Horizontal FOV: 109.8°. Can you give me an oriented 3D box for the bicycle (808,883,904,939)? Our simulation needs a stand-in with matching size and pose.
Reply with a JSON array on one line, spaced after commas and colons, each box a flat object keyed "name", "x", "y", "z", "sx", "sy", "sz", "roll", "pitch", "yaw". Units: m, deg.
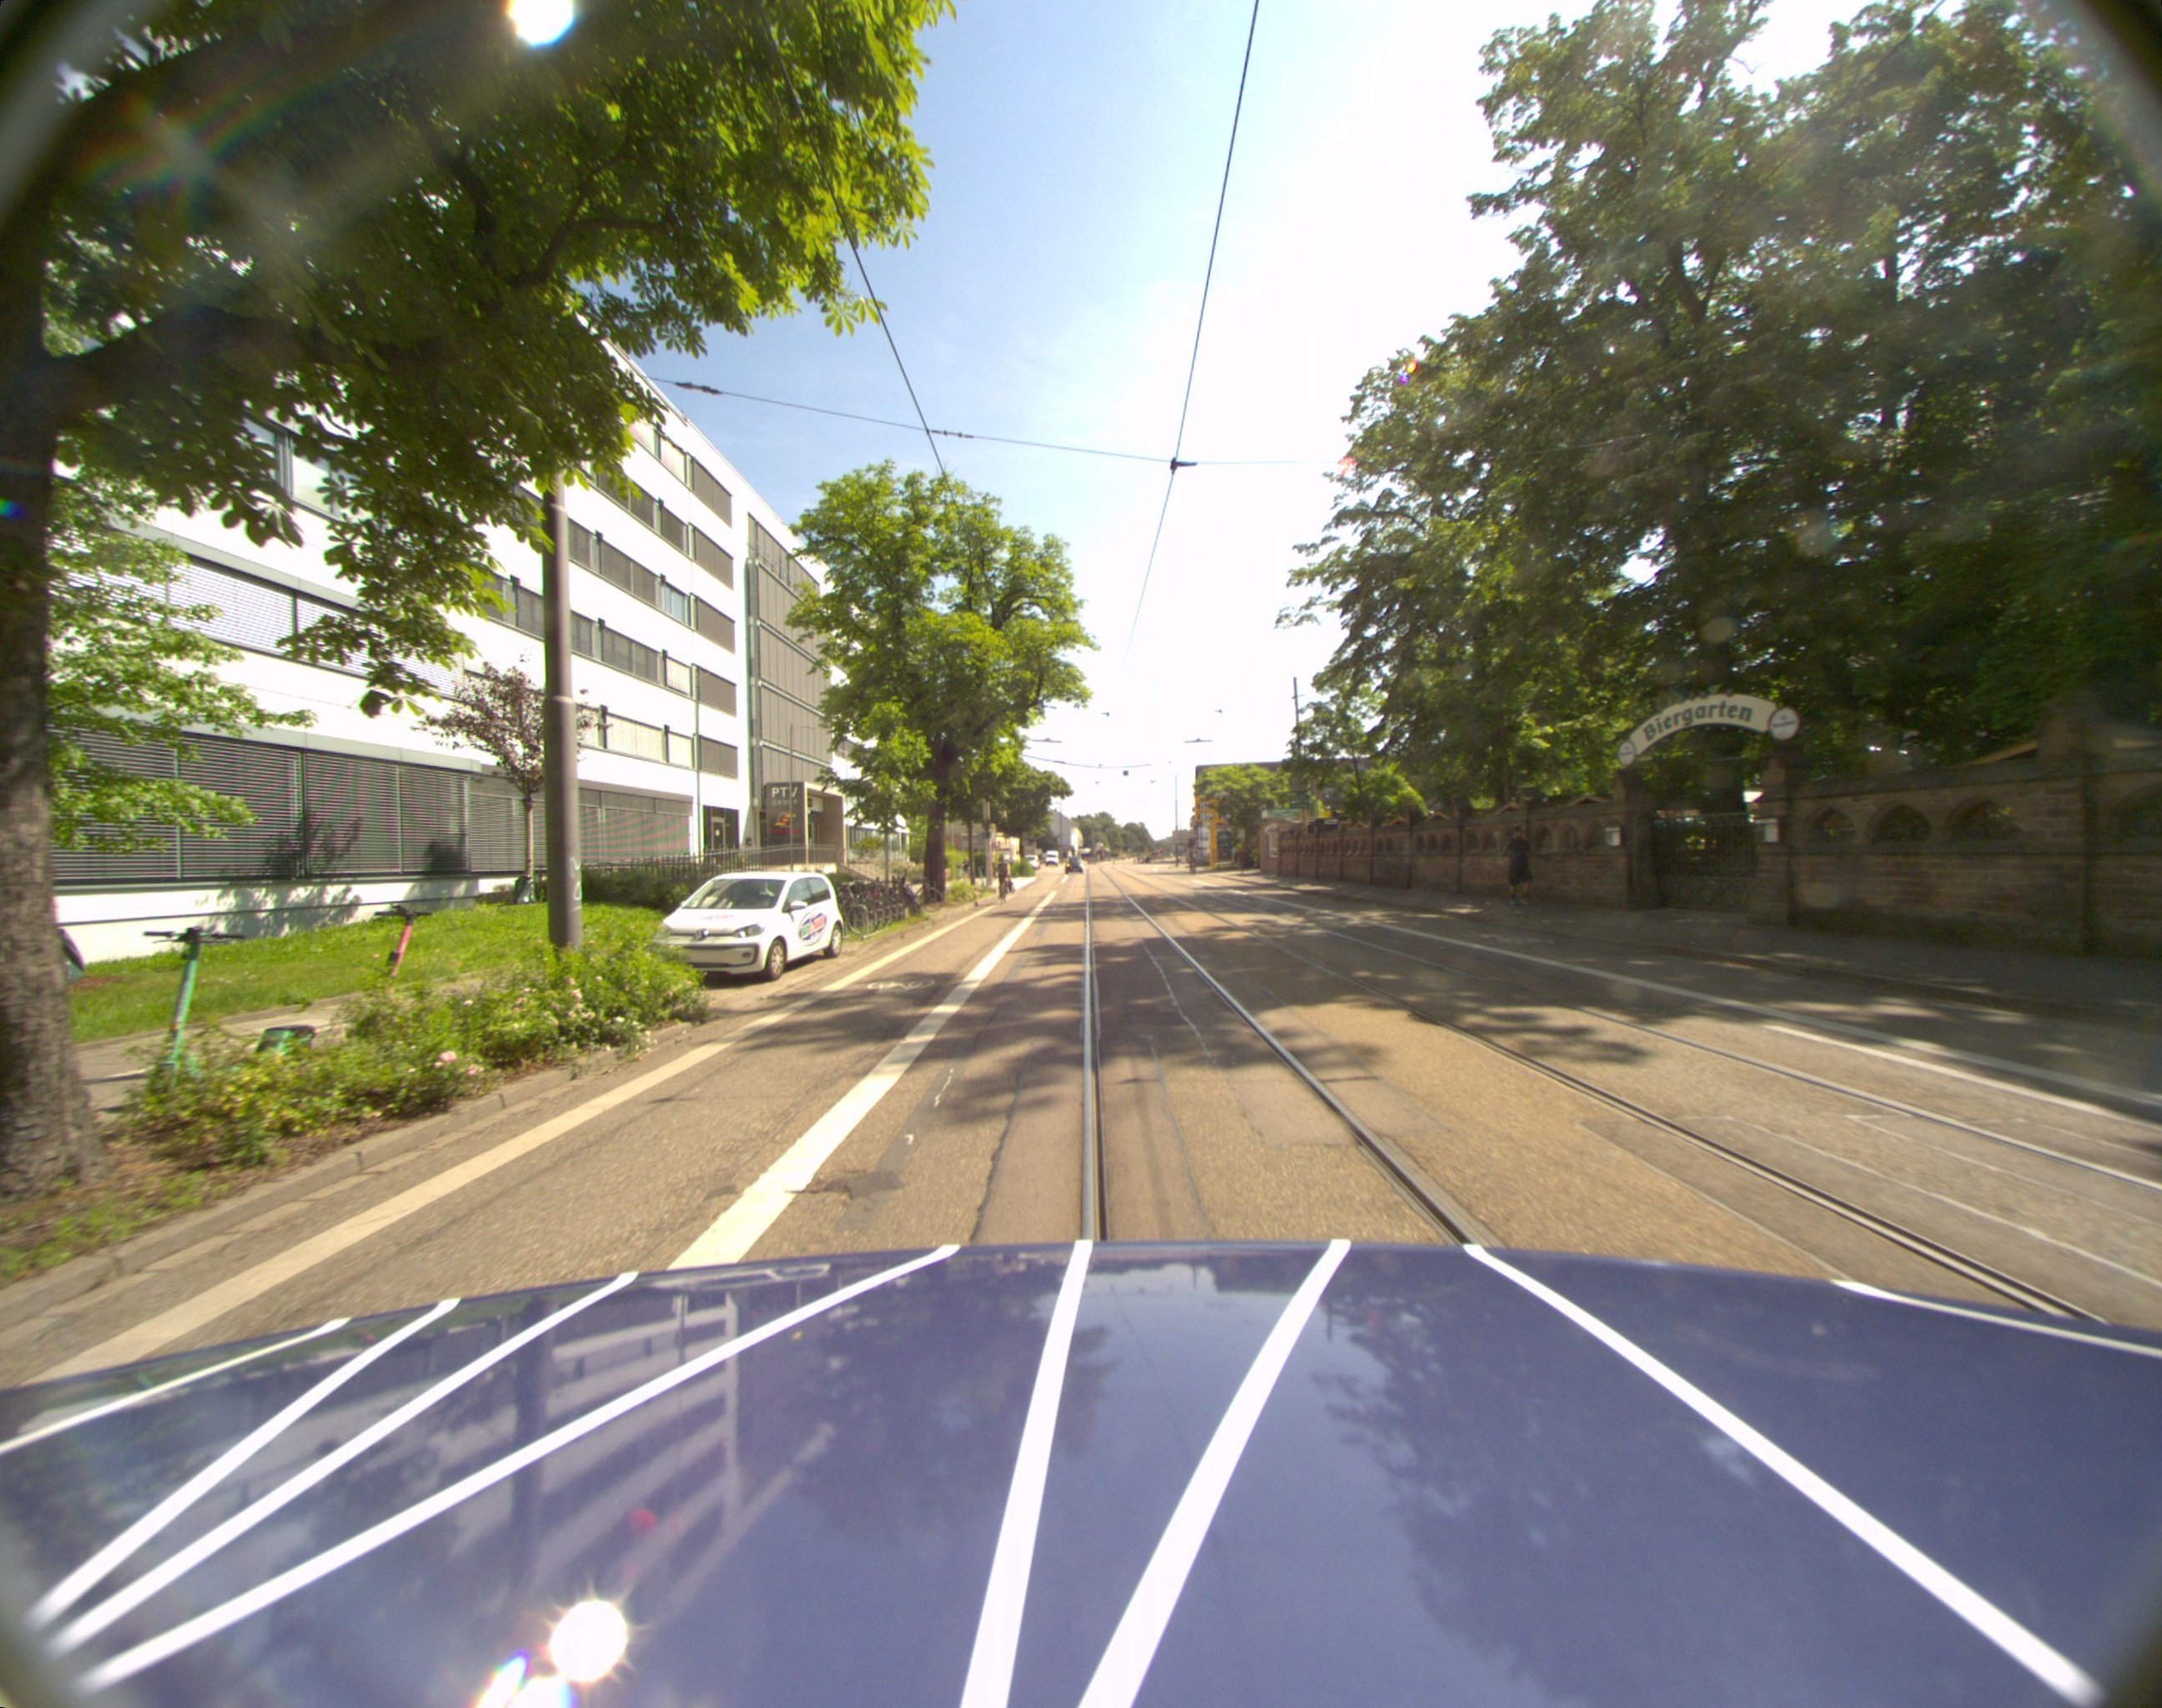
[{"name": "bicycle", "x": -4.875, "y": 1.232, "z": 16.557, "sx": 1.853, "sy": 1.125, "sz": 0.680, "roll": -1, "pitch": 0, "yaw": 0}]

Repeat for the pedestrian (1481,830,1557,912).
[{"name": "pedestrian", "x": 10.402, "y": 0.384, "z": 18.091, "sx": 0.979, "sy": 1.805, "sz": 1.185, "roll": -5, "pitch": 0, "yaw": 1}]

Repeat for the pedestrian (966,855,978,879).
[{"name": "pedestrian", "x": -7.154, "y": 0.840, "z": 49.993, "sx": 0.688, "sy": 1.554, "sz": 0.988, "roll": 0, "pitch": 0, "yaw": -4}]

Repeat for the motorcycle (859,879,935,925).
[{"name": "motorcycle", "x": -4.674, "y": 1.219, "z": 19.373, "sx": 1.728, "sy": 1.080, "sz": 0.658, "roll": -1, "pitch": 0, "yaw": 0}]

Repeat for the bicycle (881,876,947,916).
[{"name": "bicycle", "x": -4.826, "y": 1.200, "z": 22.052, "sx": 1.728, "sy": 1.080, "sz": 0.789, "roll": -1, "pitch": 0, "yaw": 0}]

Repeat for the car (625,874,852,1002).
[{"name": "car", "x": -4.878, "y": 1.116, "z": 11.423, "sx": 1.634, "sy": 1.463, "sz": 3.630, "roll": -2, "pitch": 0, "yaw": 2}]

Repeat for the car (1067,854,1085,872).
[{"name": "car", "x": -0.459, "y": 0.773, "z": 67.910, "sx": 1.478, "sy": 1.529, "sz": 2.975, "roll": -1, "pitch": 0, "yaw": -3}]

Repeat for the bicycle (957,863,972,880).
[{"name": "bicycle", "x": -7.665, "y": 1.138, "z": 49.966, "sx": 0.637, "sy": 1.111, "sz": 2.067, "roll": -2, "pitch": 0, "yaw": 0}]

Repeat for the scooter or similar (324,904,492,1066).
[{"name": "scooter or similar", "x": -6.192, "y": 1.158, "z": 7.061, "sx": 0.474, "sy": 1.294, "sz": 1.157, "roll": -2, "pitch": 1, "yaw": 1}]

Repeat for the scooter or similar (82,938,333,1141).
[{"name": "scooter or similar", "x": -6.153, "y": 1.252, "z": 5.438, "sx": 0.402, "sy": 1.166, "sz": 1.158, "roll": -2, "pitch": 0, "yaw": 1}]

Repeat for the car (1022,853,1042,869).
[{"name": "car", "x": -6.528, "y": 0.923, "z": 101.507, "sx": 2.089, "sy": 2.002, "sz": 4.909, "roll": -1, "pitch": 0, "yaw": 2}]

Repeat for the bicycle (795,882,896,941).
[{"name": "bicycle", "x": -4.902, "y": 1.183, "z": 15.879, "sx": 1.877, "sy": 1.135, "sz": 0.686, "roll": -1, "pitch": 0, "yaw": 0}]

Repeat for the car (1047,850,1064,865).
[{"name": "car", "x": -4.382, "y": 0.558, "z": 131.543, "sx": 2.335, "sy": 2.521, "sz": 6.507, "roll": 1, "pitch": 0, "yaw": 2}]

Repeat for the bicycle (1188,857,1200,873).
[{"name": "bicycle", "x": 8.037, "y": 0.796, "z": 54.029, "sx": 0.593, "sy": 1.099, "sz": 2.054, "roll": -2, "pitch": 0, "yaw": 1}]

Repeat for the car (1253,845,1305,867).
[{"name": "car", "x": 16.303, "y": 0.127, "z": 62.497, "sx": 2.015, "sy": 1.631, "sz": 4.669, "roll": -2, "pitch": 0, "yaw": 44}]

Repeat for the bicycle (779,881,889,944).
[{"name": "bicycle", "x": -4.915, "y": 1.163, "z": 15.232, "sx": 1.909, "sy": 1.162, "sz": 0.819, "roll": -1, "pitch": 0, "yaw": 0}]

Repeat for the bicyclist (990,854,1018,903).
[{"name": "bicyclist", "x": -2.762, "y": 0.852, "z": 27.373, "sx": 0.717, "sy": 1.714, "sz": 0.988, "roll": -2, "pitch": 0, "yaw": 10}]

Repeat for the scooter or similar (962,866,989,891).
[{"name": "scooter or similar", "x": -4.907, "y": 1.135, "z": 35.464, "sx": 1.128, "sy": 1.159, "sz": 0.676, "roll": -1, "pitch": 0, "yaw": 3}]

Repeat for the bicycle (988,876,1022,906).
[{"name": "bicycle", "x": -2.729, "y": 1.320, "z": 27.428, "sx": 0.609, "sy": 0.978, "sz": 2.166, "roll": -2, "pitch": 0, "yaw": 10}]

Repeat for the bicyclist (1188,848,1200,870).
[{"name": "bicyclist", "x": 8.032, "y": 0.376, "z": 54.086, "sx": 0.742, "sy": 1.522, "sz": 0.947, "roll": -2, "pitch": 1, "yaw": 1}]

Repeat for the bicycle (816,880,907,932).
[{"name": "bicycle", "x": -4.910, "y": 1.162, "z": 17.086, "sx": 1.797, "sy": 1.080, "sz": 0.726, "roll": -1, "pitch": 0, "yaw": 0}]

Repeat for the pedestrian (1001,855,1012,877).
[{"name": "pedestrian", "x": -6.150, "y": 0.987, "z": 62.575, "sx": 0.892, "sy": 1.807, "sz": 1.073, "roll": -2, "pitch": 0, "yaw": -6}]

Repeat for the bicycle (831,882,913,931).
[{"name": "bicycle", "x": -4.934, "y": 1.234, "z": 17.973, "sx": 1.728, "sy": 1.080, "sz": 0.639, "roll": -1, "pitch": 0, "yaw": 0}]
